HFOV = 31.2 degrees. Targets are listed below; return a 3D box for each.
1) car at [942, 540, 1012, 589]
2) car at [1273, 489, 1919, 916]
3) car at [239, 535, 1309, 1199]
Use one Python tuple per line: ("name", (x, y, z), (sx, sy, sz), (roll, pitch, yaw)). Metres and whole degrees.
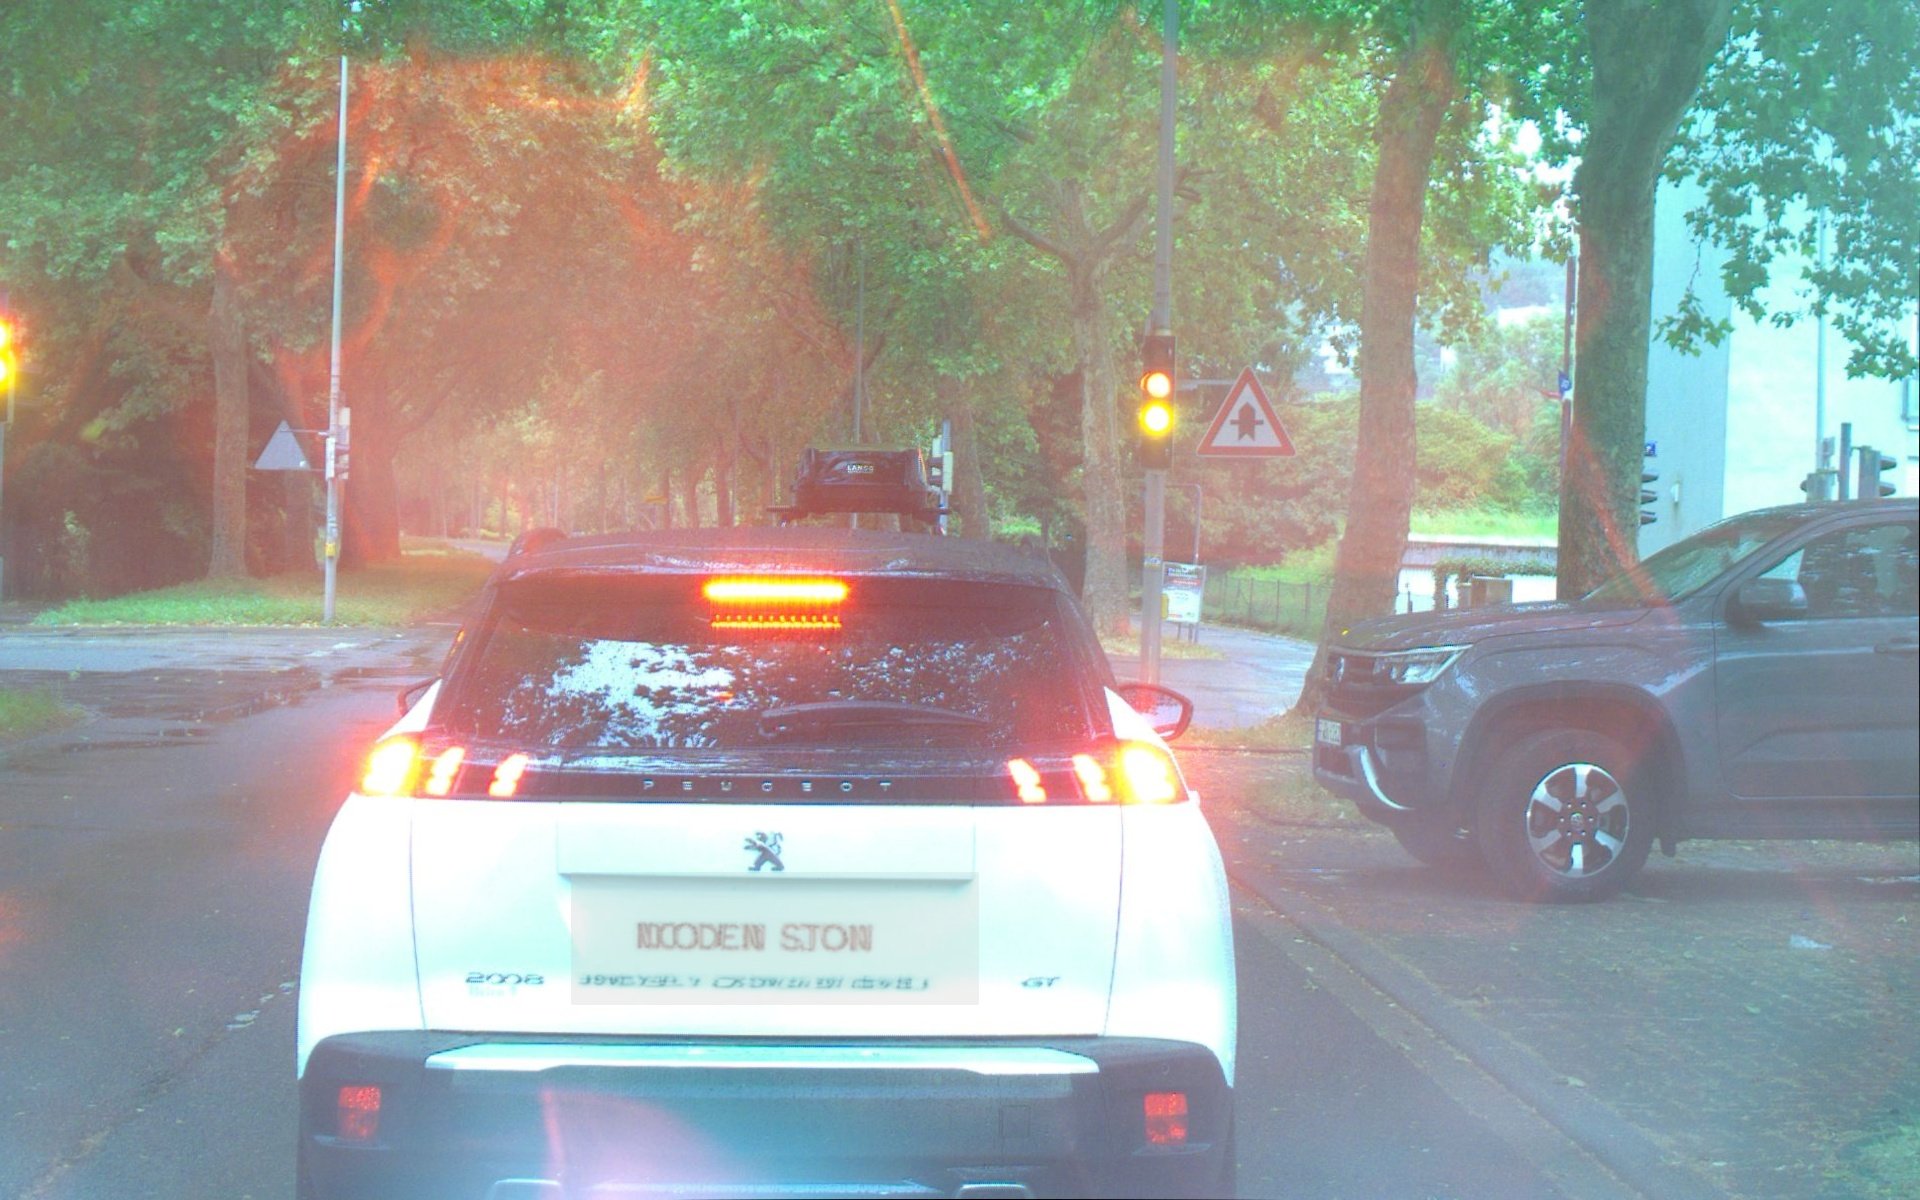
("car", (0.523, -1.173, 111.745), (1.905, 1.504, 3.932), (1, 1, -5))
("car", (4.291, 0.472, 15.956), (5.337, 1.800, 1.846), (1, 1, -7))
("car", (-0.353, 0.641, 7.822), (1.780, 1.531, 4.058), (1, 1, -1))
